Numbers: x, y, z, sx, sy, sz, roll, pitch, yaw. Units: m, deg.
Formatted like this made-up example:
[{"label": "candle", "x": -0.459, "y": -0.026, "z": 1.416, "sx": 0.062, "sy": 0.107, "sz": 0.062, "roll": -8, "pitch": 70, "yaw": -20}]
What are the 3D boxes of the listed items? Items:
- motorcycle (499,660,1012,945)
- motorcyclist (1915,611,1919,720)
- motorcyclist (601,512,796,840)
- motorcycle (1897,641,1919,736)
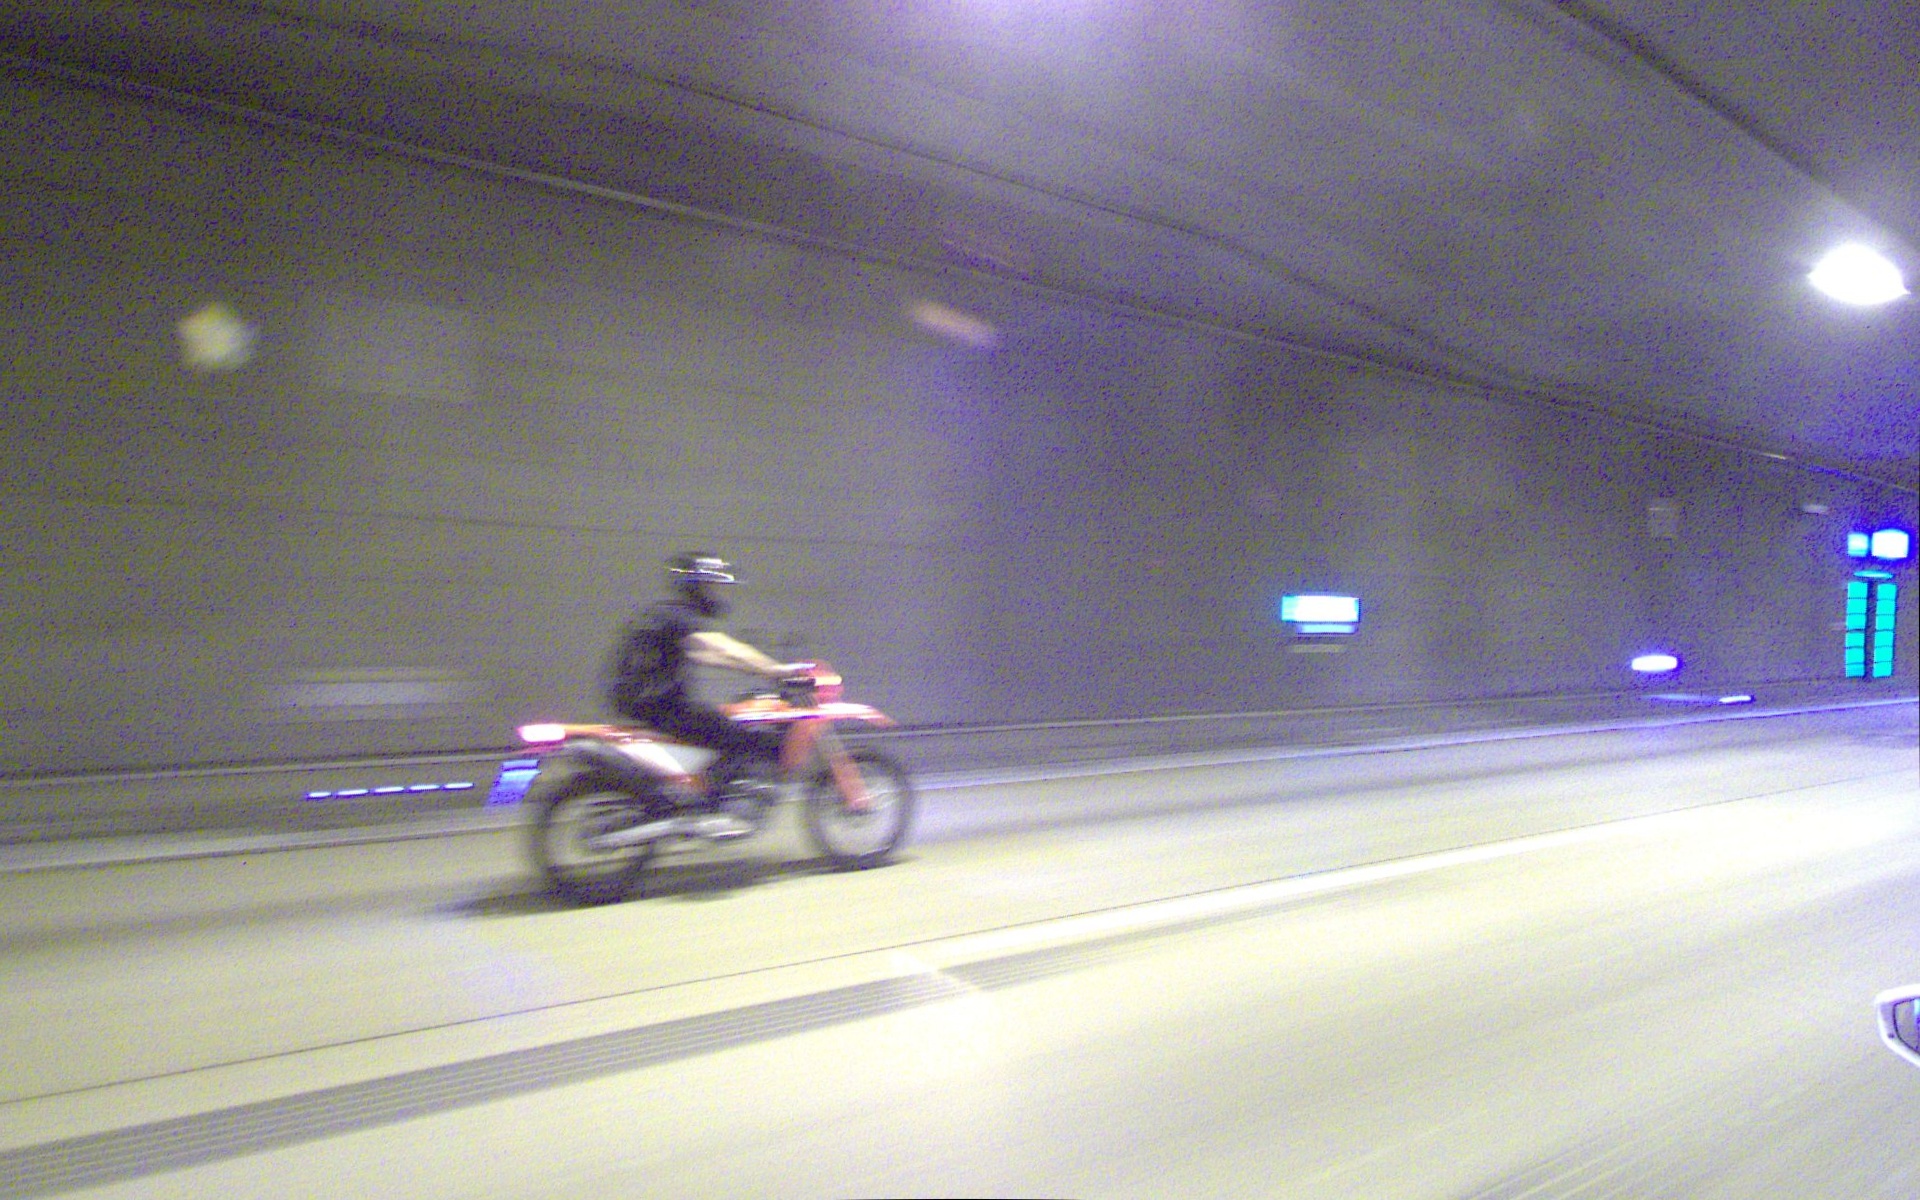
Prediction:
[{"label": "motorcycle", "x": -1.035, "y": 0.926, "z": 5.245, "sx": 2.391, "sy": 1.173, "sz": 1.052, "roll": 1, "pitch": -1, "yaw": -20}, {"label": "motorcyclist", "x": 13.704, "y": 0.895, "z": 13.657, "sx": 0.811, "sy": 1.497, "sz": 0.835, "roll": 1, "pitch": -2, "yaw": -29}, {"label": "motorcyclist", "x": -1.327, "y": 0.365, "z": 5.065, "sx": 0.877, "sy": 1.509, "sz": 0.626, "roll": 1, "pitch": -2, "yaw": -20}, {"label": "motorcycle", "x": 13.918, "y": 1.202, "z": 13.780, "sx": 2.573, "sy": 1.262, "sz": 0.842, "roll": 2, "pitch": -2, "yaw": -30}]
